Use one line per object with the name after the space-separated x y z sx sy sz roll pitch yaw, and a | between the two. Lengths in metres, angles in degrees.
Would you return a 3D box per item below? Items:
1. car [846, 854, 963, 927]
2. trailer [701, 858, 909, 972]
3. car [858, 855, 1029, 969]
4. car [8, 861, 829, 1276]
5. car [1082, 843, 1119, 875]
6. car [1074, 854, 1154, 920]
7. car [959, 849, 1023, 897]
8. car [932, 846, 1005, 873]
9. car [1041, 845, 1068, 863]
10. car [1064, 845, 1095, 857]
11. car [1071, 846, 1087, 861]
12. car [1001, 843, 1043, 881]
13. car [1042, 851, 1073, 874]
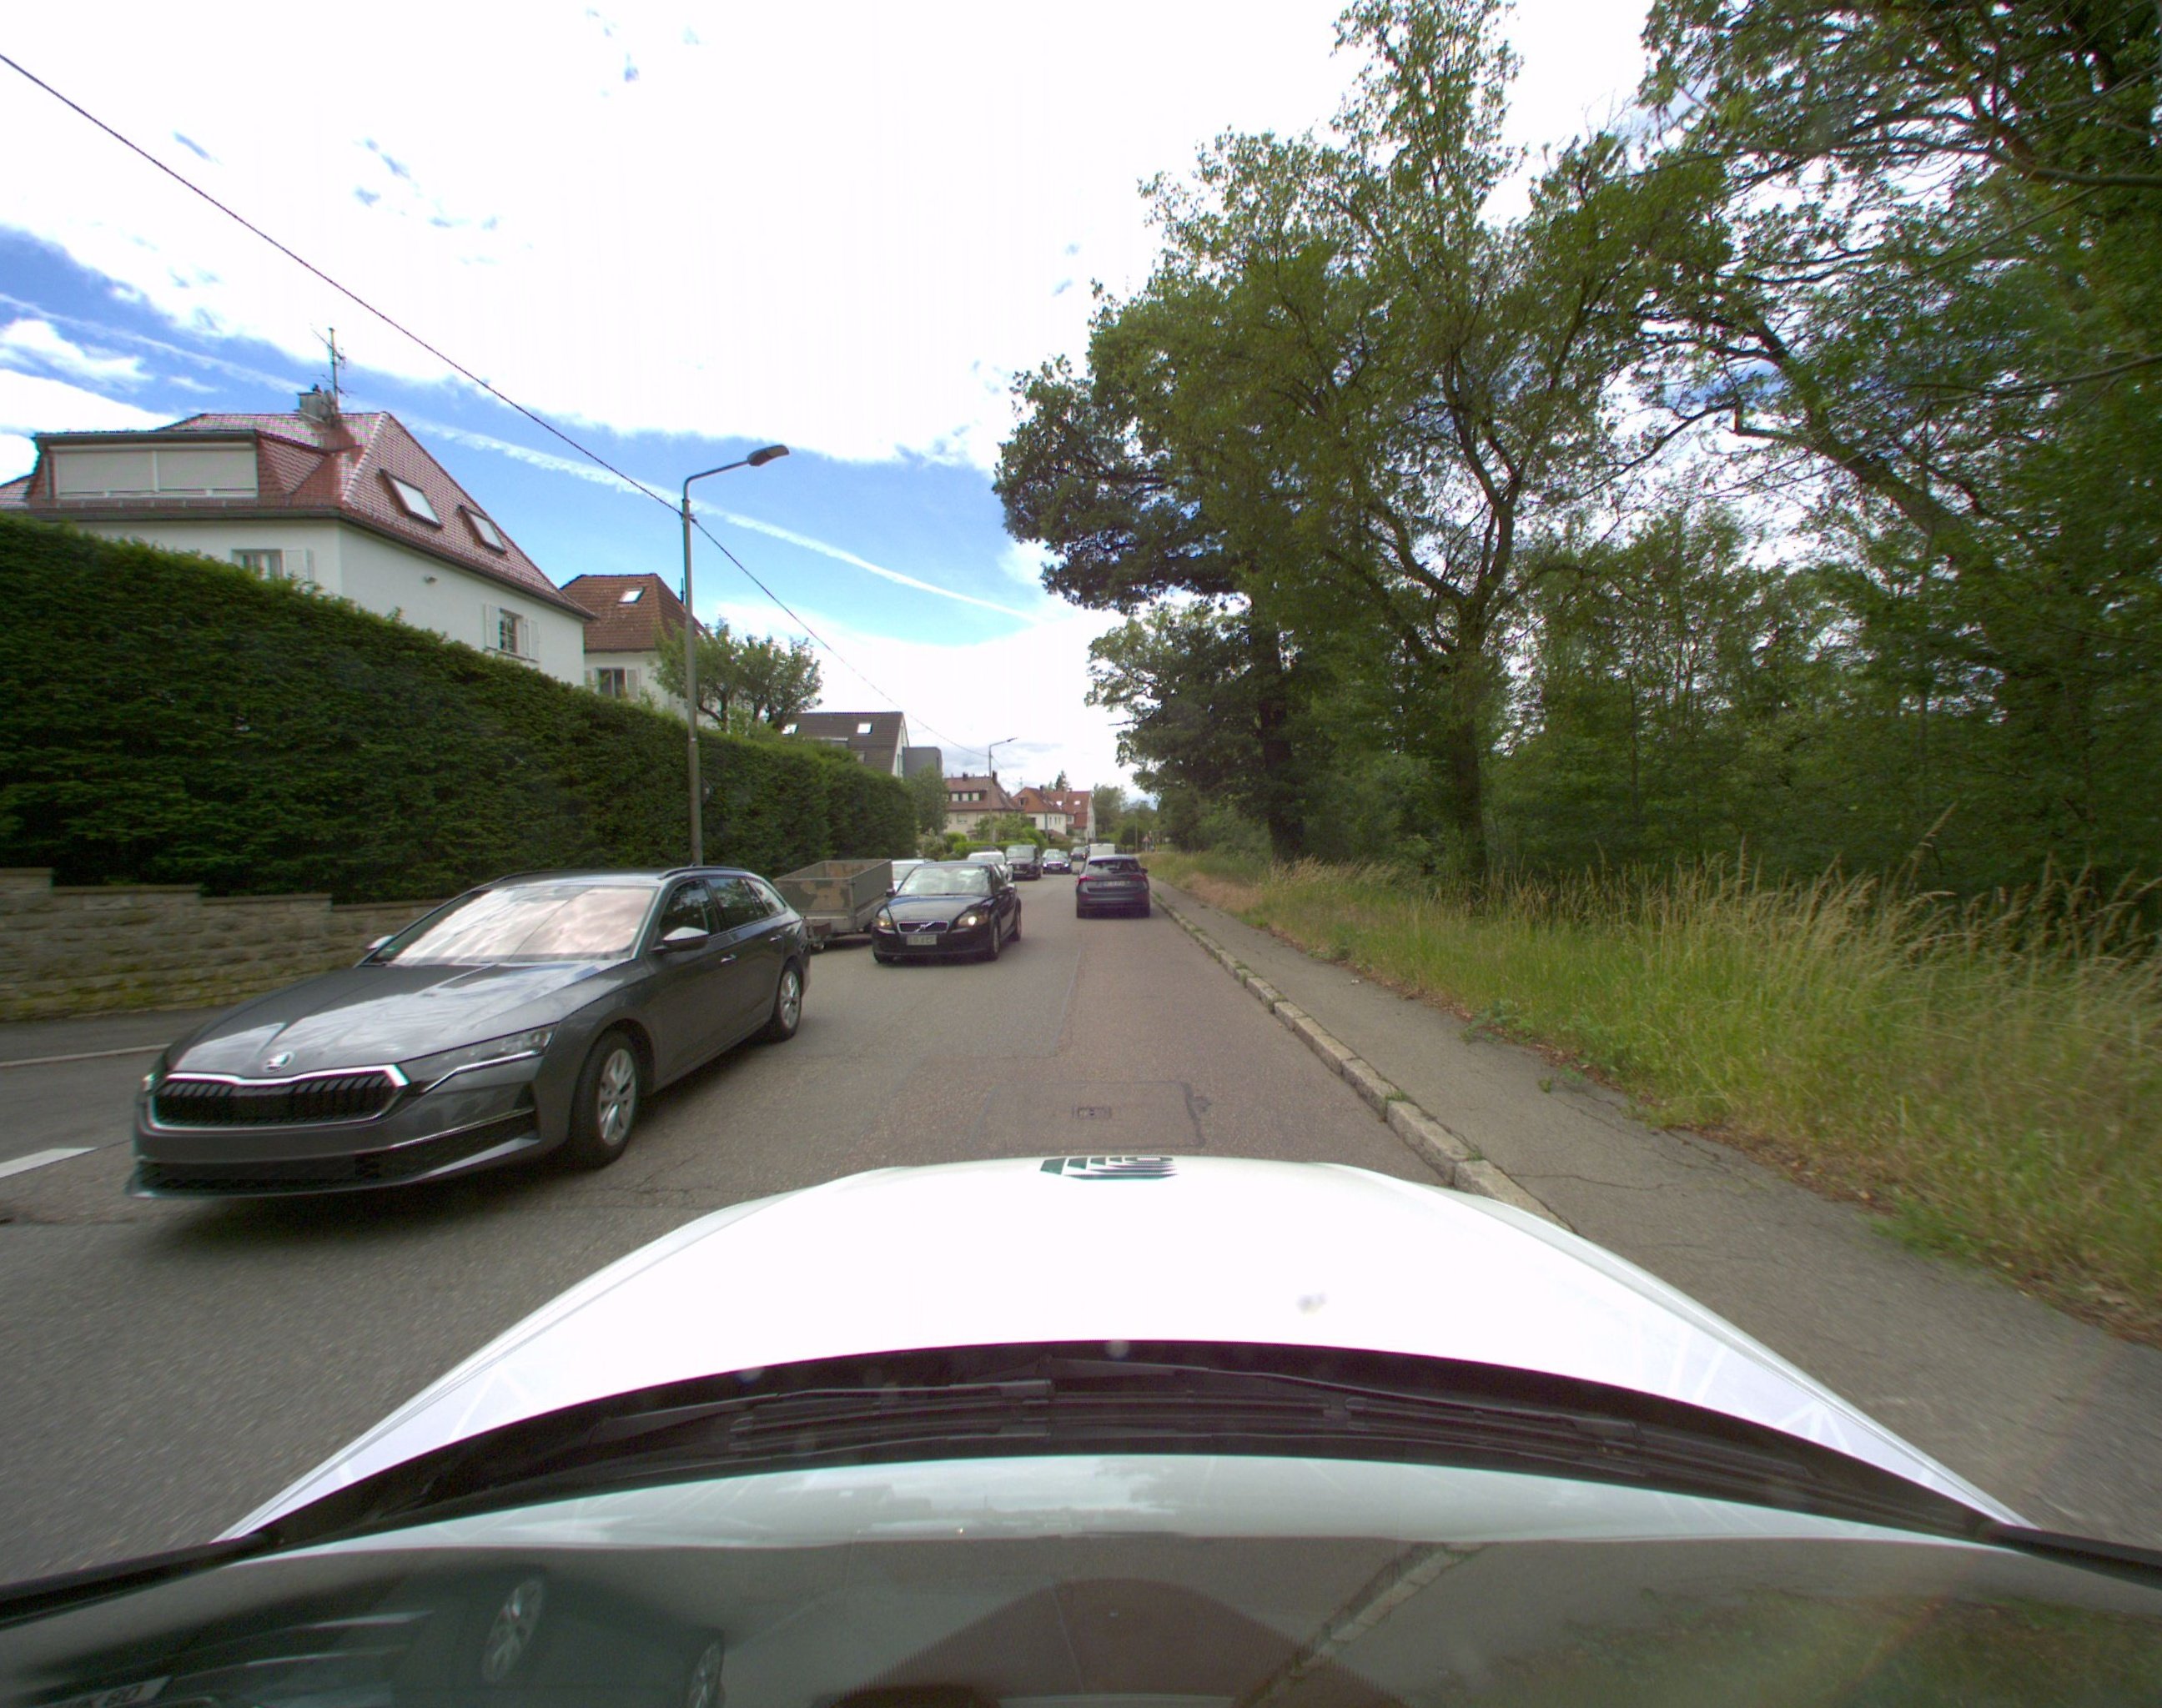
-4.218 0.809 20.213 1.757 1.499 4.474 -3 0 1 | car
-4.323 0.864 13.600 1.756 1.496 4.476 -2 0 2 | trailer
-1.980 0.774 13.112 1.756 1.446 4.476 -2 0 3 | car
-3.183 0.820 5.325 1.759 1.446 4.470 -2 0 -2 | car
1.195 0.270 51.799 2.066 1.922 4.919 0 0 -2 | car
0.720 0.732 20.355 1.723 1.439 4.321 0 1 -1 | car
-3.375 0.668 31.206 1.832 1.648 4.187 -3 0 1 | car
-7.506 0.370 54.589 4.604 1.697 1.998 -1 0 -3 | car
-2.219 -0.047 69.749 1.774 1.500 4.022 0 0 6 | car
-0.206 -0.461 115.668 3.962 1.618 2.006 -1 1 10 | car
-0.230 -0.091 93.418 1.827 1.597 4.324 0 1 1 | car
-3.162 0.389 44.417 1.856 1.926 5.038 0 0 1 | car
-1.502 0.520 53.094 1.856 1.414 4.592 0 0 1 | car
